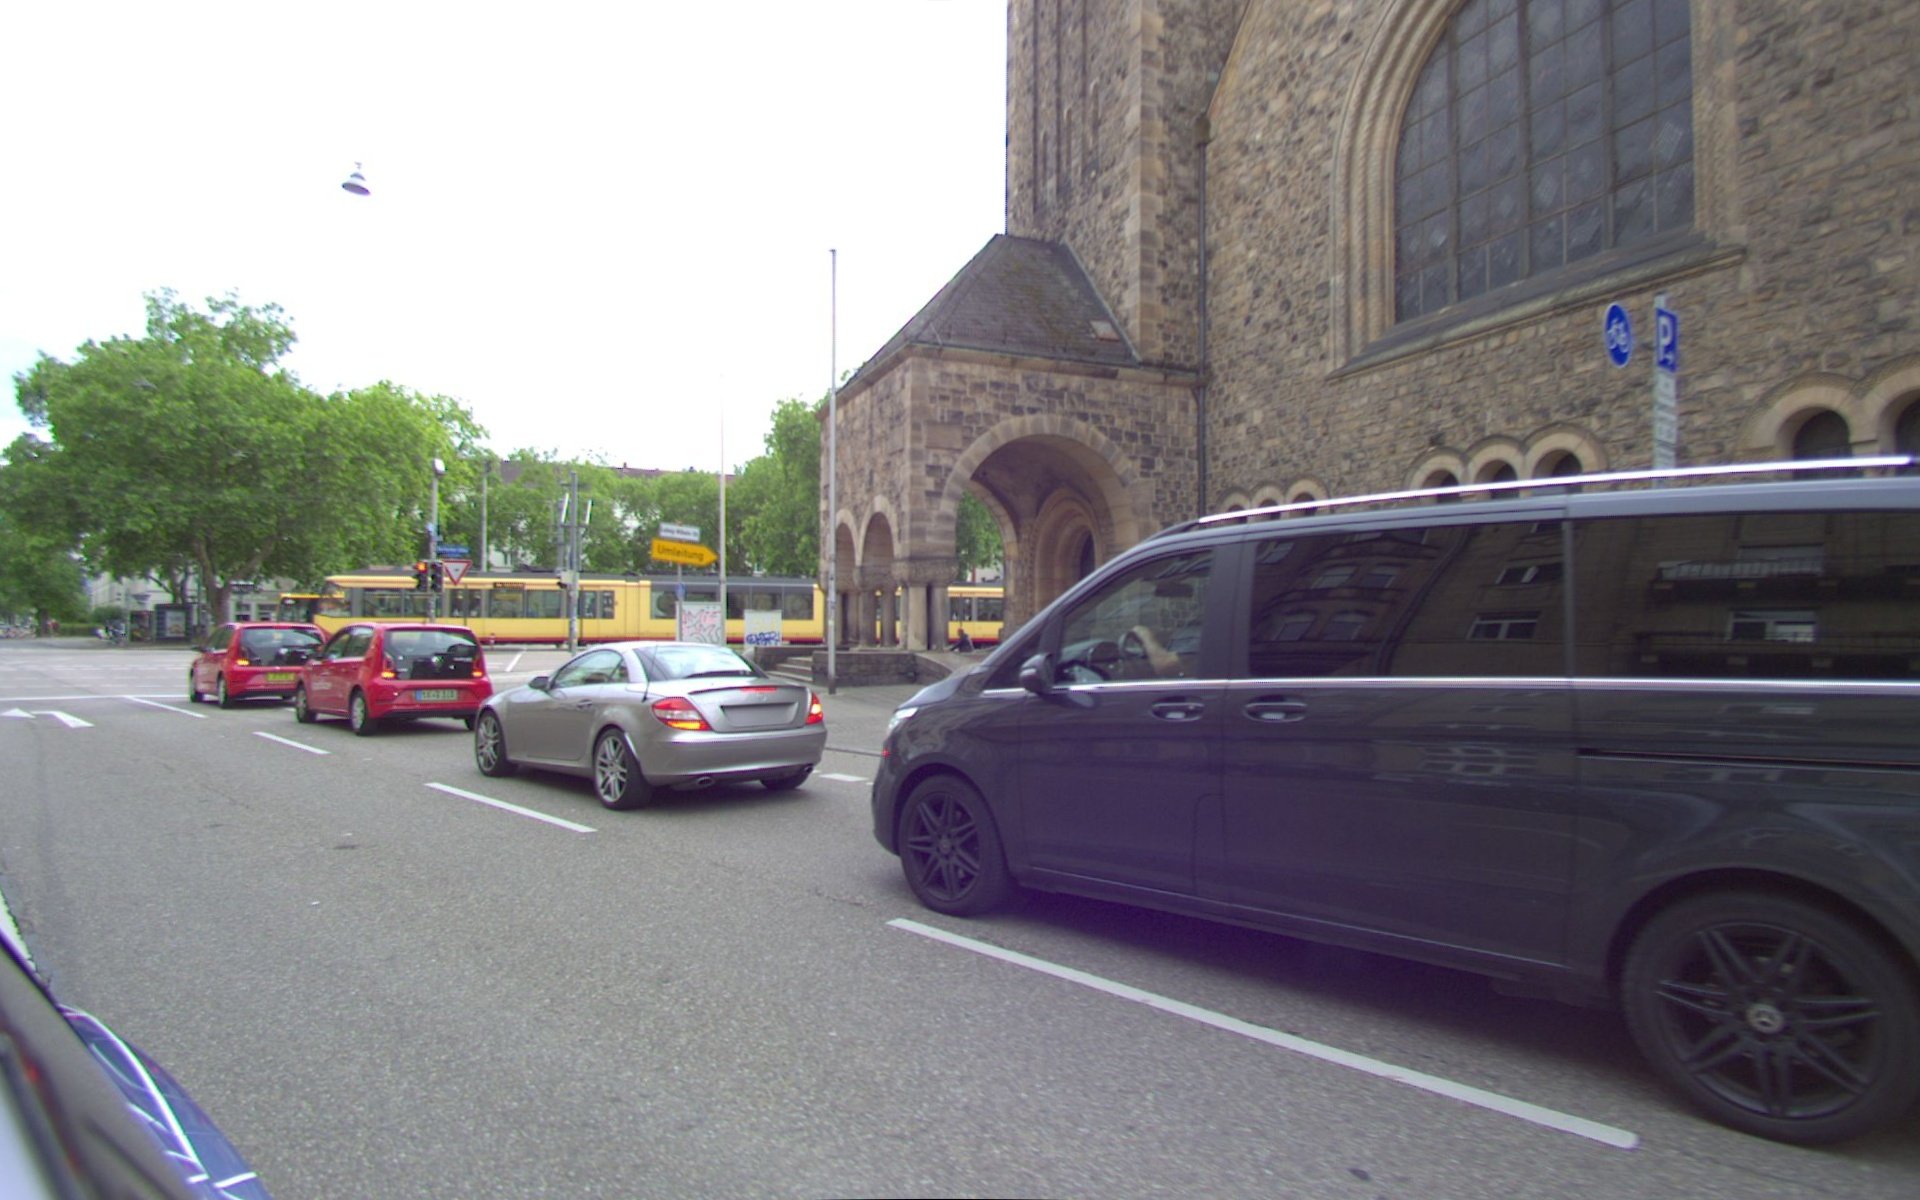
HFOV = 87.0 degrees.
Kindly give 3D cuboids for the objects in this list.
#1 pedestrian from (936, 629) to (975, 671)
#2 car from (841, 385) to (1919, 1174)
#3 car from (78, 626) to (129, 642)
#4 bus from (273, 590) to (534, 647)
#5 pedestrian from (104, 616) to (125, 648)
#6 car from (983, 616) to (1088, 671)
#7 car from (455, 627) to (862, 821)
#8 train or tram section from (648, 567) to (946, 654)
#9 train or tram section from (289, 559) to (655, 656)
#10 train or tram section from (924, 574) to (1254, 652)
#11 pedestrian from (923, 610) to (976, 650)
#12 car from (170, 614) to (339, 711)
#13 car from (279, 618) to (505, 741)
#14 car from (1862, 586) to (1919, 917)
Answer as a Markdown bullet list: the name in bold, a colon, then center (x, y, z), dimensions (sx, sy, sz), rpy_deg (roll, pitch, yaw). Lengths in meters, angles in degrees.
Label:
- **pedestrian**: center (-0.138, 1.502, 30.473), dimensions (1.046, 1.238, 0.740), rpy_deg (1, -1, -8)
- **car**: center (1.924, 0.494, 4.286), dimensions (5.284, 1.969, 1.891), rpy_deg (-2, -2, 43)
- **car**: center (-80.813, 3.201, 95.482), dimensions (3.967, 1.497, 1.792), rpy_deg (0, -2, 18)
- **bus**: center (-29.862, 1.026, 55.213), dimensions (12.165, 2.878, 3.303), rpy_deg (1, -1, -22)
- **pedestrian**: center (-51.664, 1.950, 61.841), dimensions (0.681, 1.900, 0.686), rpy_deg (1, -1, 10)
- **car**: center (2.387, 1.384, 33.359), dimensions (1.634, 1.648, 4.377), rpy_deg (1, -1, -23)
- **car**: center (-2.852, 0.946, 9.052), dimensions (4.043, 1.296, 1.685), rpy_deg (-1, -4, 44)
- **train or tram section**: center (-8.292, 0.630, 52.525), dimensions (14.777, 4.124, 3.593), rpy_deg (1, -1, -21)
- **train or tram section**: center (-22.113, 0.434, 47.179), dimensions (14.777, 4.124, 3.667), rpy_deg (1, -1, -21)
- **train or tram section**: center (7.787, 0.868, 58.754), dimensions (19.602, 4.124, 3.640), rpy_deg (1, -1, -21)
- **pedestrian**: center (-0.324, 0.922, 31.383), dimensions (1.467, 1.200, 0.741), rpy_deg (1, -1, -22)
- **car**: center (-12.640, 1.101, 18.048), dimensions (3.894, 1.540, 1.631), rpy_deg (-2, -5, 43)
- **car**: center (-7.993, 1.033, 14.117), dimensions (3.717, 1.468, 1.585), rpy_deg (-1, -4, 42)
- **car**: center (6.190, 0.693, 4.096), dimensions (3.772, 1.520, 1.628), rpy_deg (0, 1, 43)
